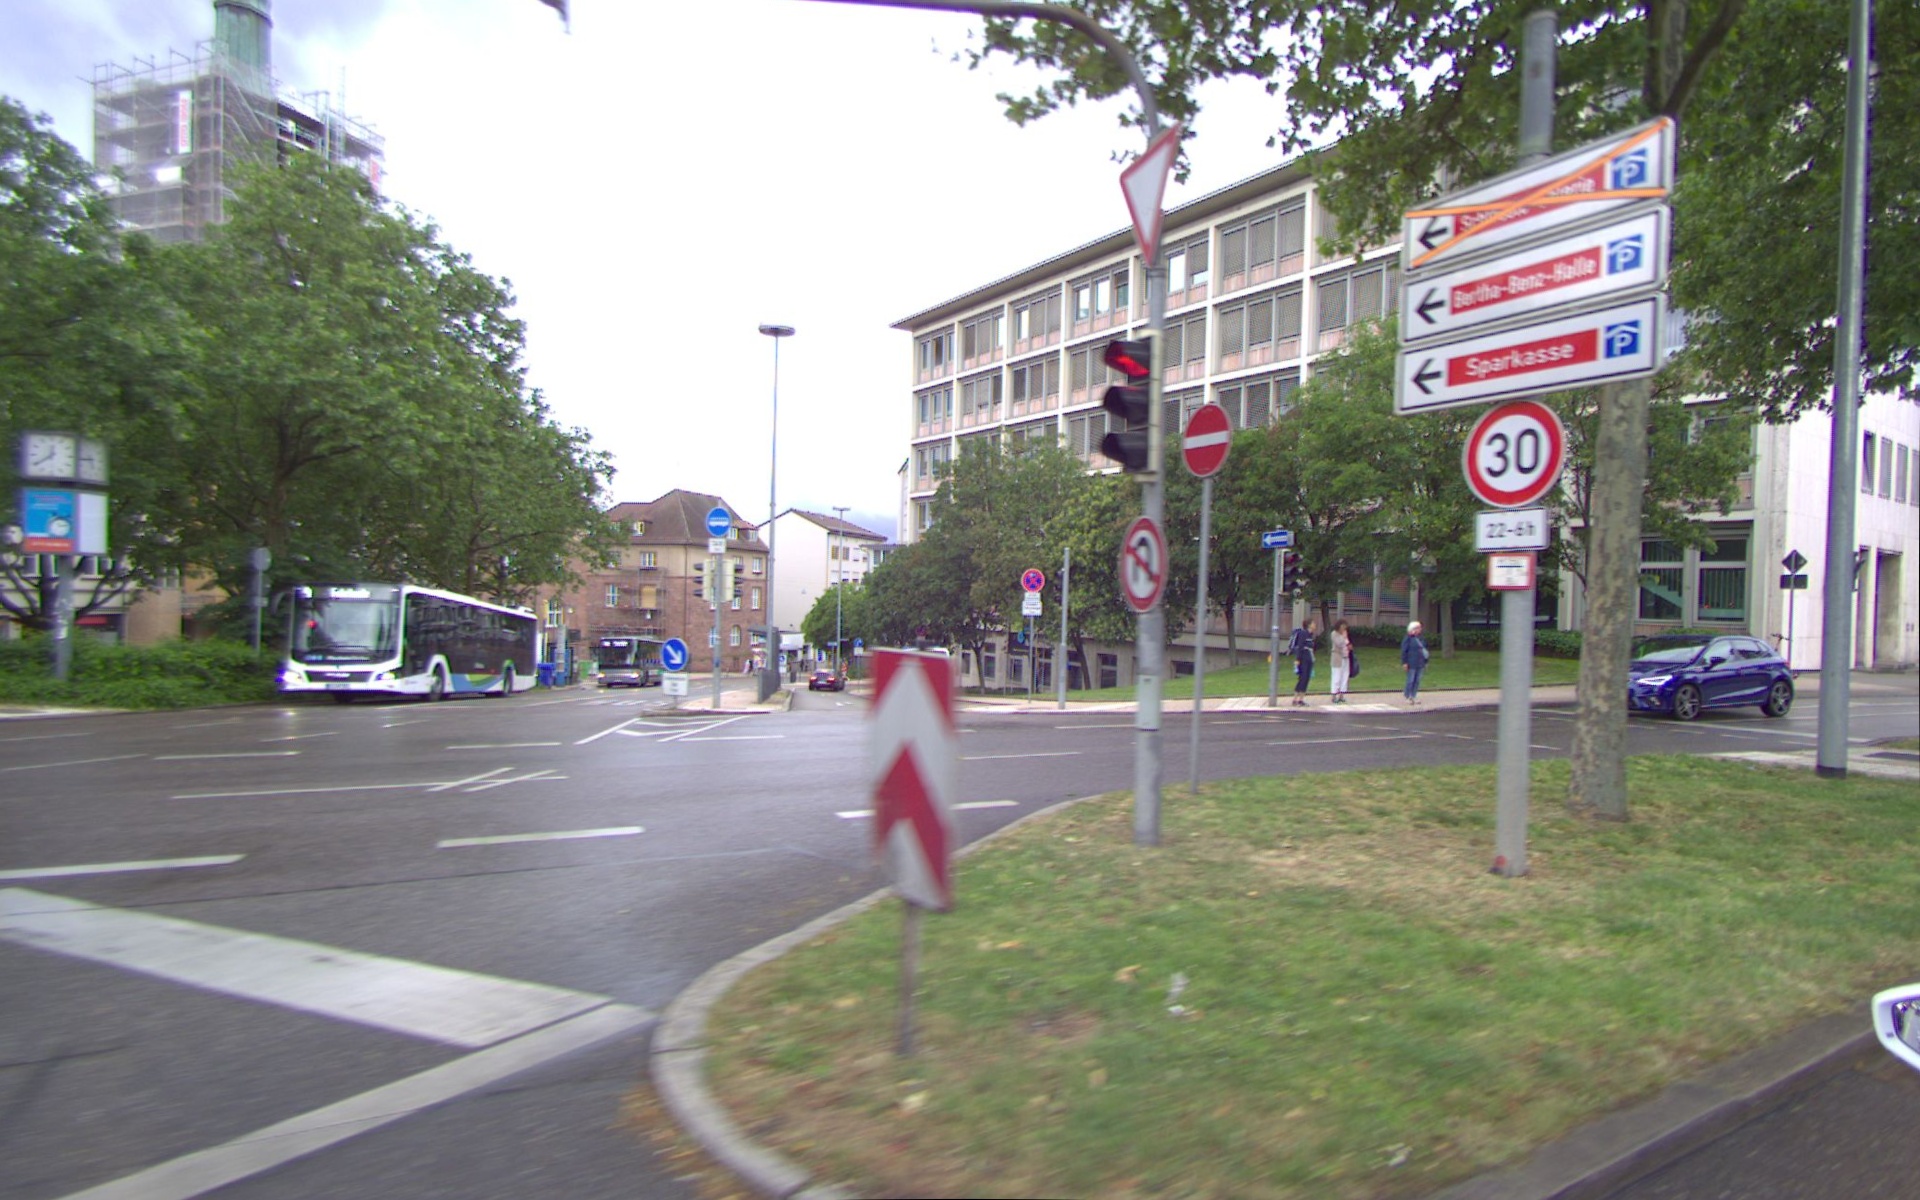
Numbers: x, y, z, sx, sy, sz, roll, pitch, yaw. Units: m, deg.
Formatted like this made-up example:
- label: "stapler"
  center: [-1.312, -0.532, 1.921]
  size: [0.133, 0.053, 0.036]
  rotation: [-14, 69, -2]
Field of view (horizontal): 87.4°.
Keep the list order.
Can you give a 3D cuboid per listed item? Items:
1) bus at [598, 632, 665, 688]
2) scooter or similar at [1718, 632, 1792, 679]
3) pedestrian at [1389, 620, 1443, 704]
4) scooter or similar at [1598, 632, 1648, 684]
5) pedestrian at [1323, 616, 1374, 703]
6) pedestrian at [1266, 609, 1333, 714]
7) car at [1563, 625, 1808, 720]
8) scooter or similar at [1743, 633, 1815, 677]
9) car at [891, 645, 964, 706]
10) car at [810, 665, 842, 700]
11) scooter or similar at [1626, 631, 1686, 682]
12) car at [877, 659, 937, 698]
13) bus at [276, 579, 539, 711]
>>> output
- label: "bus"
  center: [-21.611, 3.827, 66.691]
  size: [2.838, 3.237, 11.948]
  rotation: [1, -1, -11]
- label: "scooter or similar"
  center: [21.724, 1.508, 27.460]
  size: [1.497, 1.208, 0.609]
  rotation: [1, -1, 3]
- label: "pedestrian"
  center: [9.039, 1.211, 19.911]
  size: [0.918, 1.624, 0.647]
  rotation: [2, -1, -42]
- label: "scooter or similar"
  center: [15.869, 1.375, 24.032]
  size: [1.487, 1.183, 0.485]
  rotation: [2, -1, -35]
- label: "pedestrian"
  center: [7.919, 1.198, 20.489]
  size: [0.790, 1.733, 0.648]
  rotation: [1, -1, -39]
- label: "pedestrian"
  center: [6.871, 1.228, 20.357]
  size: [0.861, 2.072, 0.932]
  rotation: [1, -1, -23]
- label: "car"
  center: [13.072, 1.247, 18.104]
  size: [4.046, 1.528, 1.836]
  rotation: [1, -1, -24]
- label: "scooter or similar"
  center: [22.879, 1.531, 28.074]
  size: [1.497, 1.180, 0.609]
  rotation: [1, -1, 3]
- label: "car"
  center: [-1.238, 2.634, 35.678]
  size: [1.964, 1.990, 4.582]
  rotation: [1, -3, -10]
- label: "car"
  center: [-8.858, 5.424, 66.118]
  size: [1.964, 2.040, 3.993]
  rotation: [1, -1, -10]
- label: "scooter or similar"
  center: [17.276, 1.393, 24.916]
  size: [1.554, 1.208, 0.567]
  rotation: [1, -1, -28]
- label: "car"
  center: [-2.295, 3.281, 42.386]
  size: [1.964, 1.438, 4.582]
  rotation: [1, -2, -10]
- label: "bus"
  center: [-15.434, 1.450, 29.559]
  size: [2.837, 3.058, 11.959]
  rotation: [1, -4, -9]
